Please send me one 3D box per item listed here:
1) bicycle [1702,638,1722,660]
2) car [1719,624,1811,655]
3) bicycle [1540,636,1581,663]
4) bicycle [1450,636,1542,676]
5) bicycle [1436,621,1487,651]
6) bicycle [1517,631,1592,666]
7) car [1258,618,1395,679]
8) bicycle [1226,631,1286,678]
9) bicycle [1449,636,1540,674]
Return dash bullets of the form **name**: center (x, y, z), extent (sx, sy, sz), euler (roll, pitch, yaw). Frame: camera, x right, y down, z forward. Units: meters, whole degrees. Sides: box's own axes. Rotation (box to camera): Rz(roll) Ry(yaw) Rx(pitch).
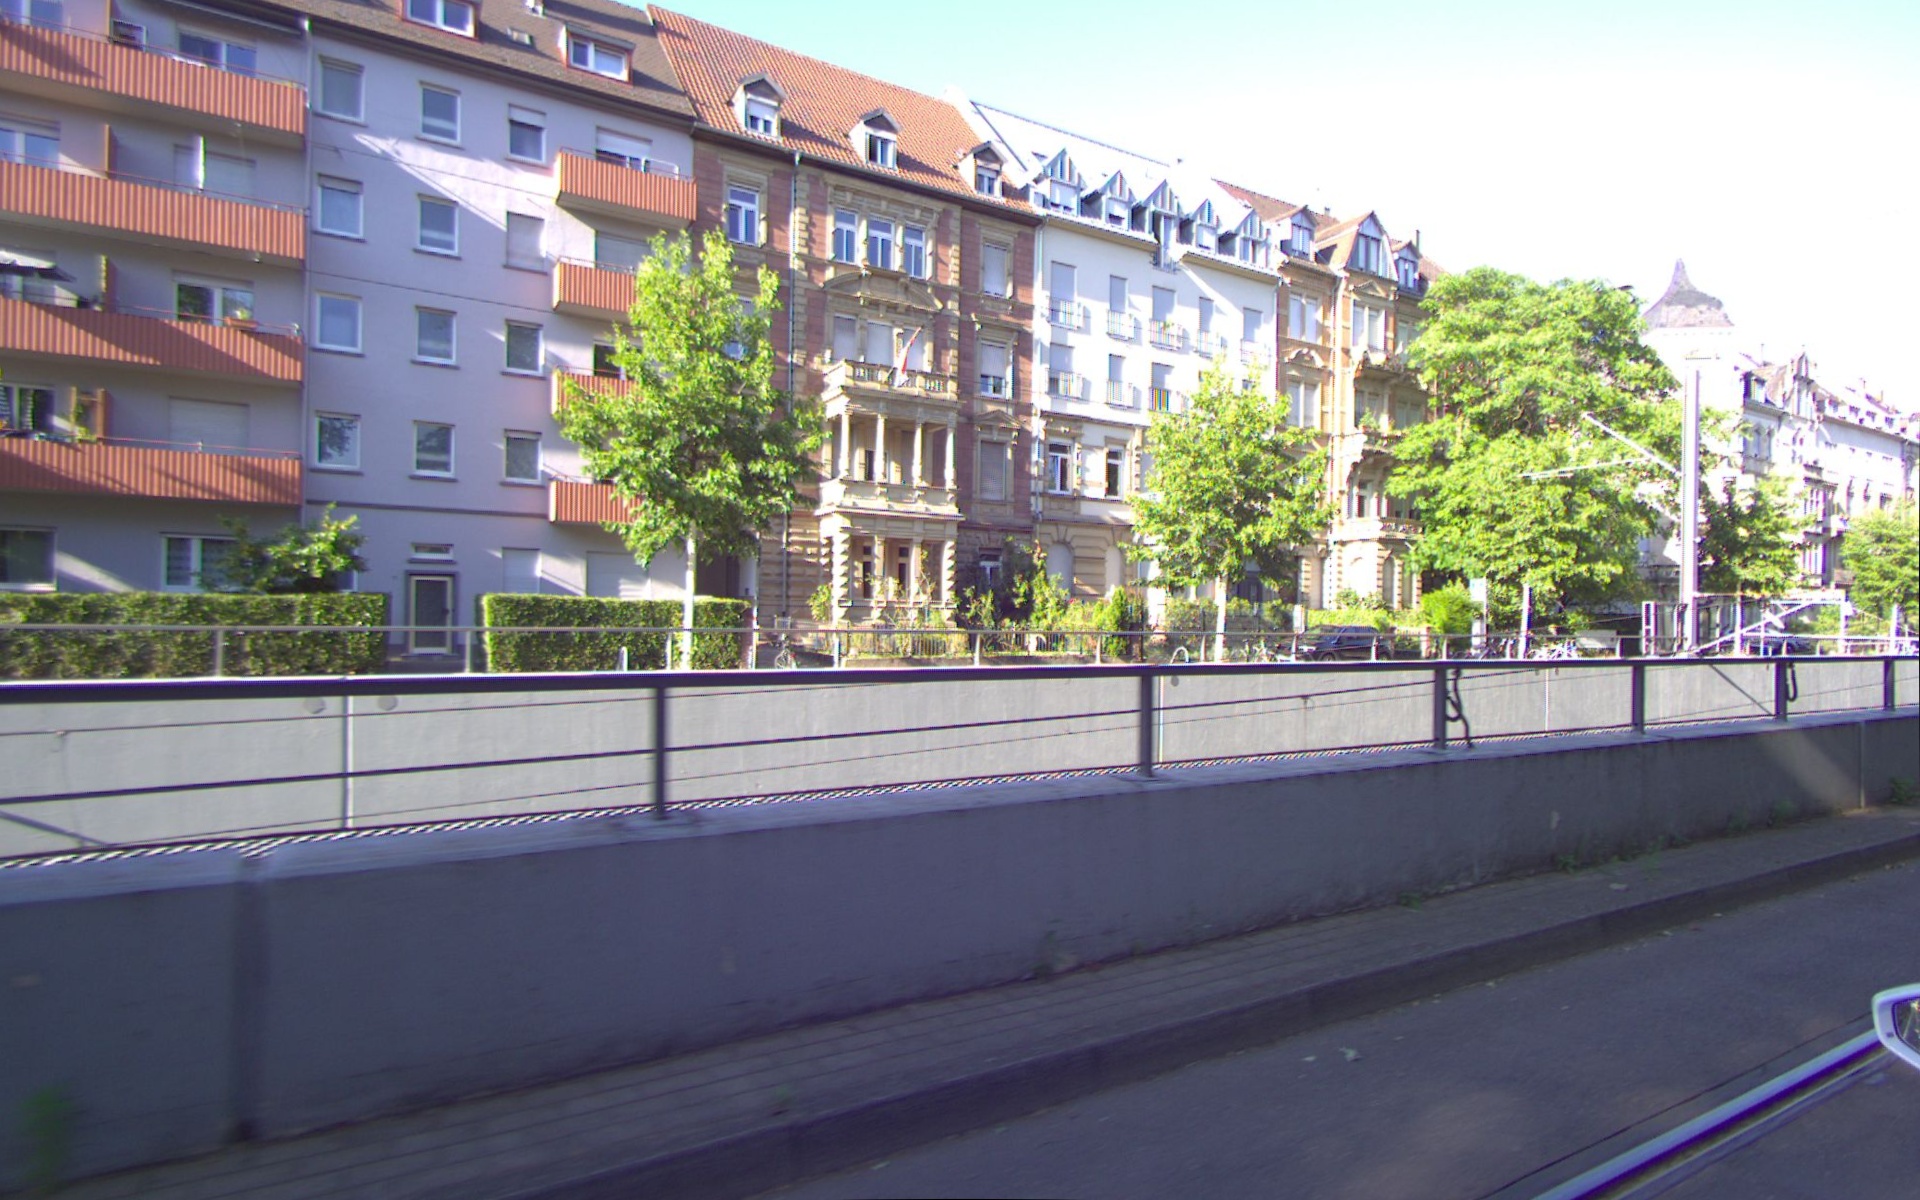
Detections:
- **bicycle**: center (37.699, 2.468, 50.364), extent (0.447, 1.018, 1.942), euler (3, -2, 29)
- **car**: center (47.894, 2.329, 59.786), extent (1.809, 1.646, 3.955), euler (1, 1, -39)
- **bicycle**: center (22.391, 1.845, 37.470), extent (1.246, 0.917, 0.538), euler (3, 2, 30)
- **bicycle**: center (18.335, 1.900, 34.431), extent (2.735, 1.113, 0.642), euler (3, 2, 28)
- **bicycle**: center (19.469, 1.408, 38.971), extent (2.348, 1.113, 0.552), euler (1, 2, -31)
- **bicycle**: center (21.920, 1.769, 37.071), extent (2.333, 1.113, 0.556), euler (3, 2, 30)
- **car**: center (11.090, 1.426, 30.359), extent (3.957, 1.606, 1.822), euler (1, 2, -33)
- **bicycle**: center (8.547, 1.567, 29.070), extent (0.555, 1.194, 1.801), euler (1, 2, -27)
- **bicycle**: center (18.615, 1.894, 35.067), extent (2.735, 1.113, 0.642), euler (3, 2, 28)
